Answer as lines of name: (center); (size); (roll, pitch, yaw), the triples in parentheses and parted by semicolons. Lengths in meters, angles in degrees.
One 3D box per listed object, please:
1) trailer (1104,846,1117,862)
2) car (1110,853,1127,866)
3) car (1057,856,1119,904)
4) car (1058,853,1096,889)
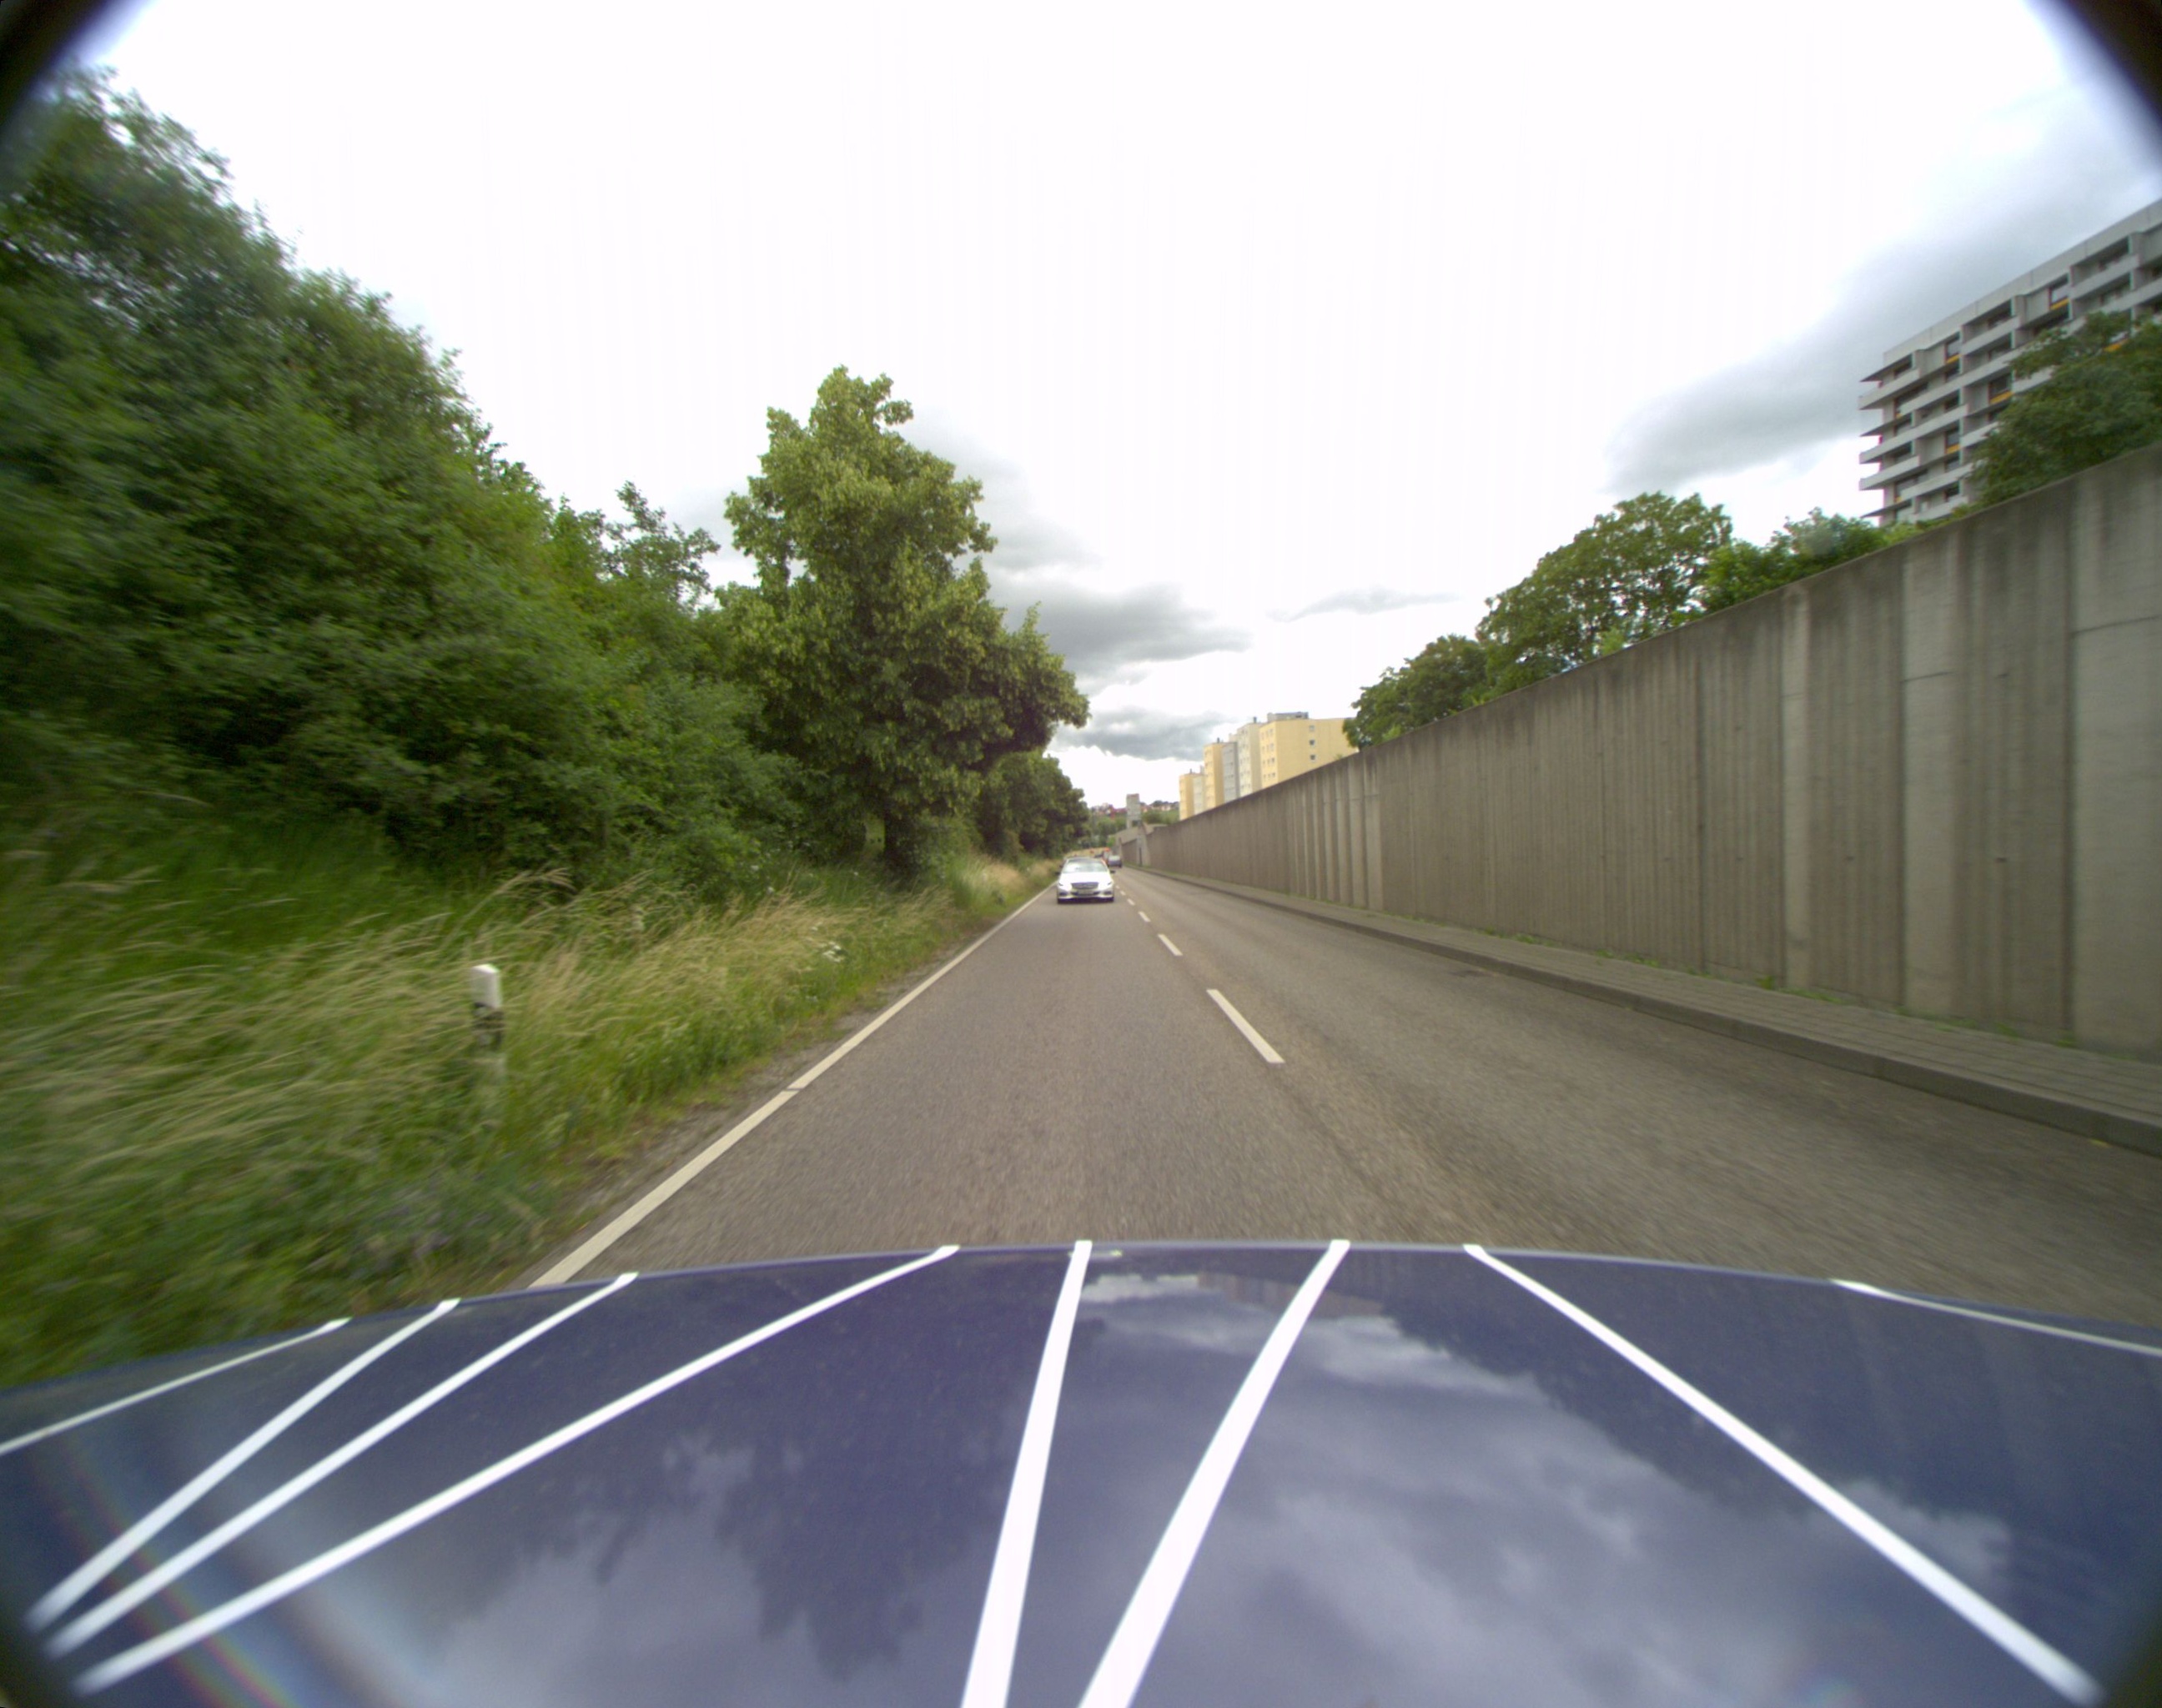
trailer: (4.971, 0.017, 128.125); (2.115, 2.615, 4.372); (-2, 0, 1)
car: (4.510, 0.593, 92.216); (1.897, 1.475, 4.823); (-2, 0, 1)
car: (0.159, 0.839, 26.343); (1.905, 1.471, 4.093); (-2, 0, -2)
car: (-0.254, 0.820, 39.414); (1.759, 1.532, 3.998); (-5, 1, -2)
